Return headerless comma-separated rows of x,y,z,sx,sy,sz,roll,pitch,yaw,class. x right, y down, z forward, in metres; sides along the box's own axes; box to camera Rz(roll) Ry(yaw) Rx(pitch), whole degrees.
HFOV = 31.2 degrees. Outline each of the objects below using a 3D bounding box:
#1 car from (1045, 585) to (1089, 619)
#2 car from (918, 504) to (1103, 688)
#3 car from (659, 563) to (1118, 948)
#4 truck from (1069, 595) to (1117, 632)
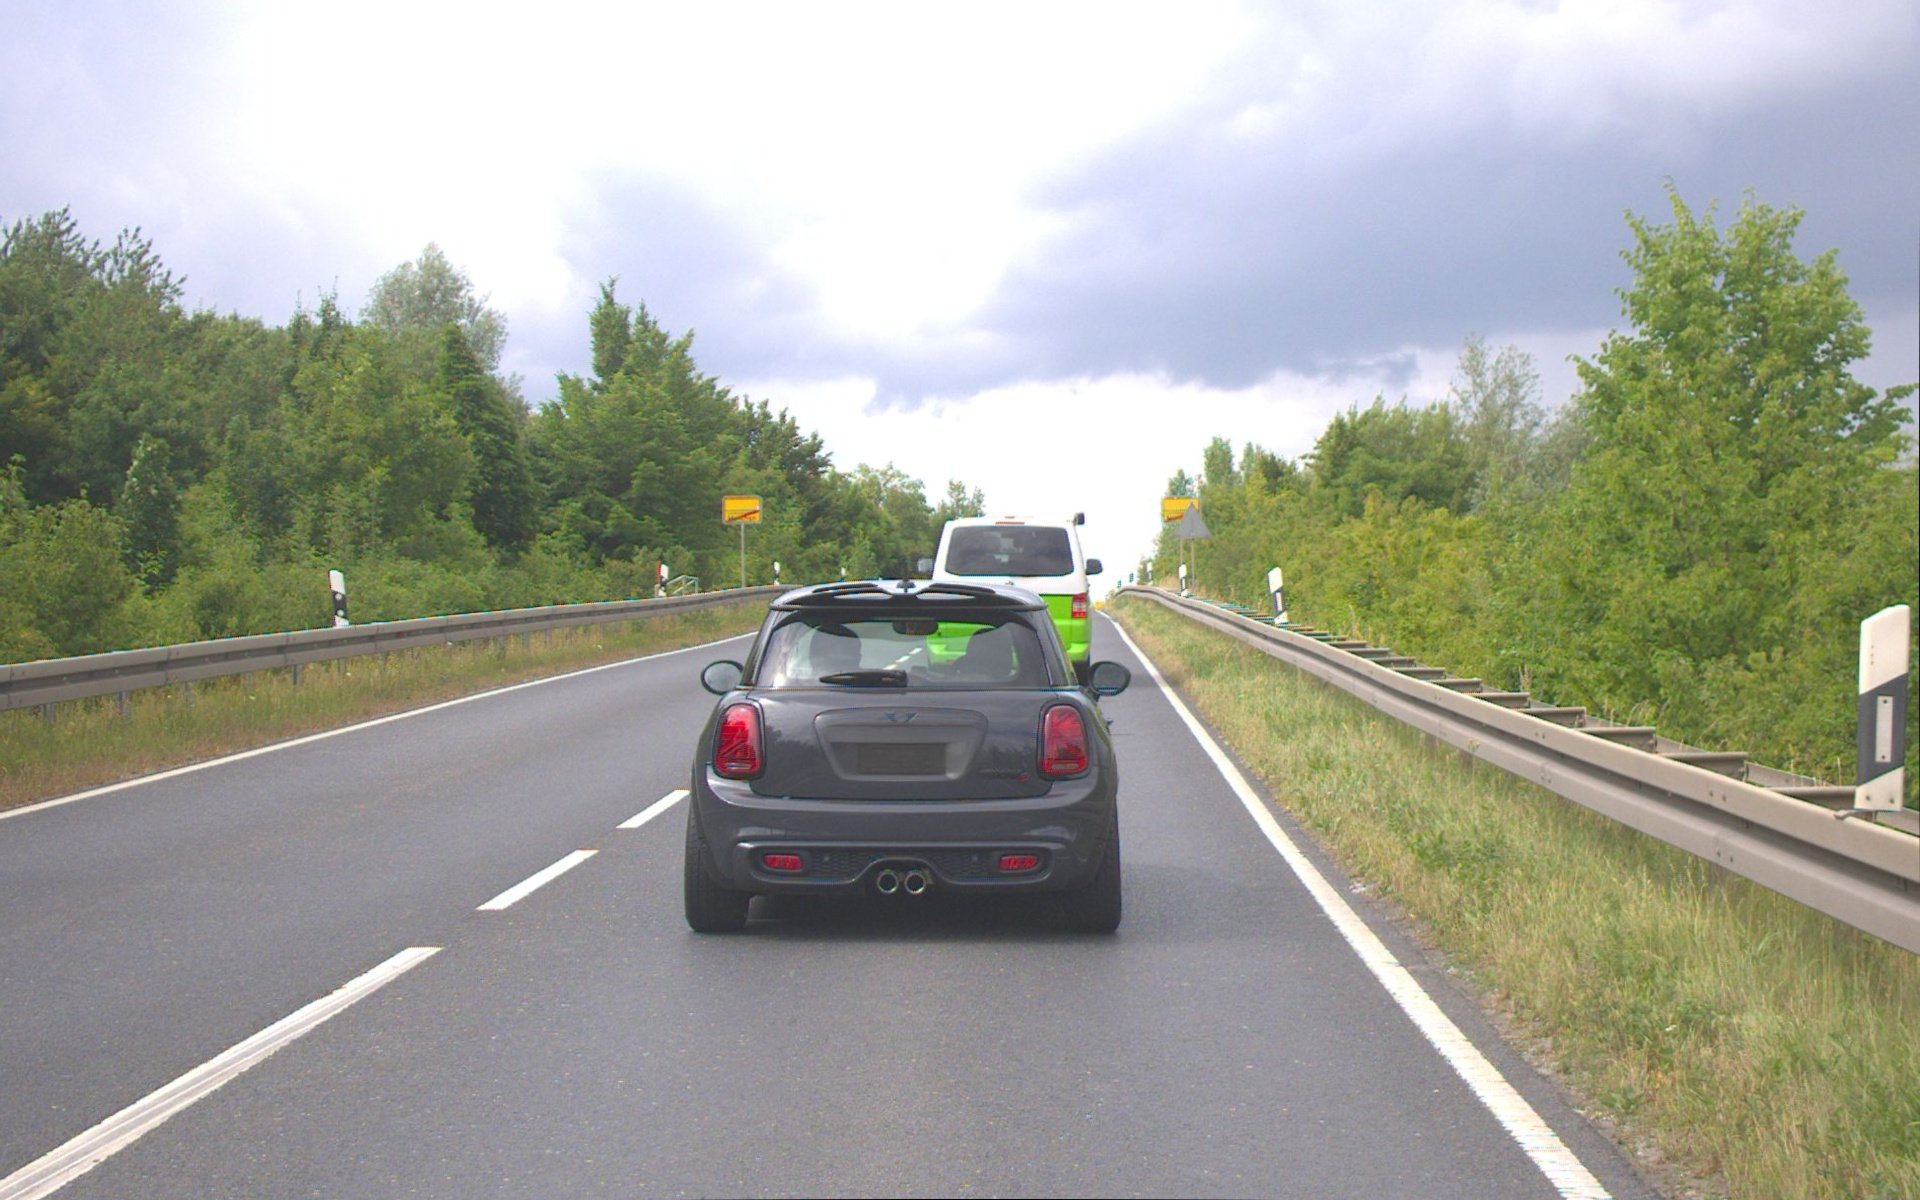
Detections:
4.516,0.069,144.976,1.694,1.315,4.000,-1,1,4,car
0.622,-0.080,40.430,2.022,2.006,4.000,2,1,2,car
-0.339,0.576,15.118,1.732,1.451,4.000,1,0,-2,car
9.486,0.958,244.373,2.910,2.364,10.450,-2,0,5,truck
